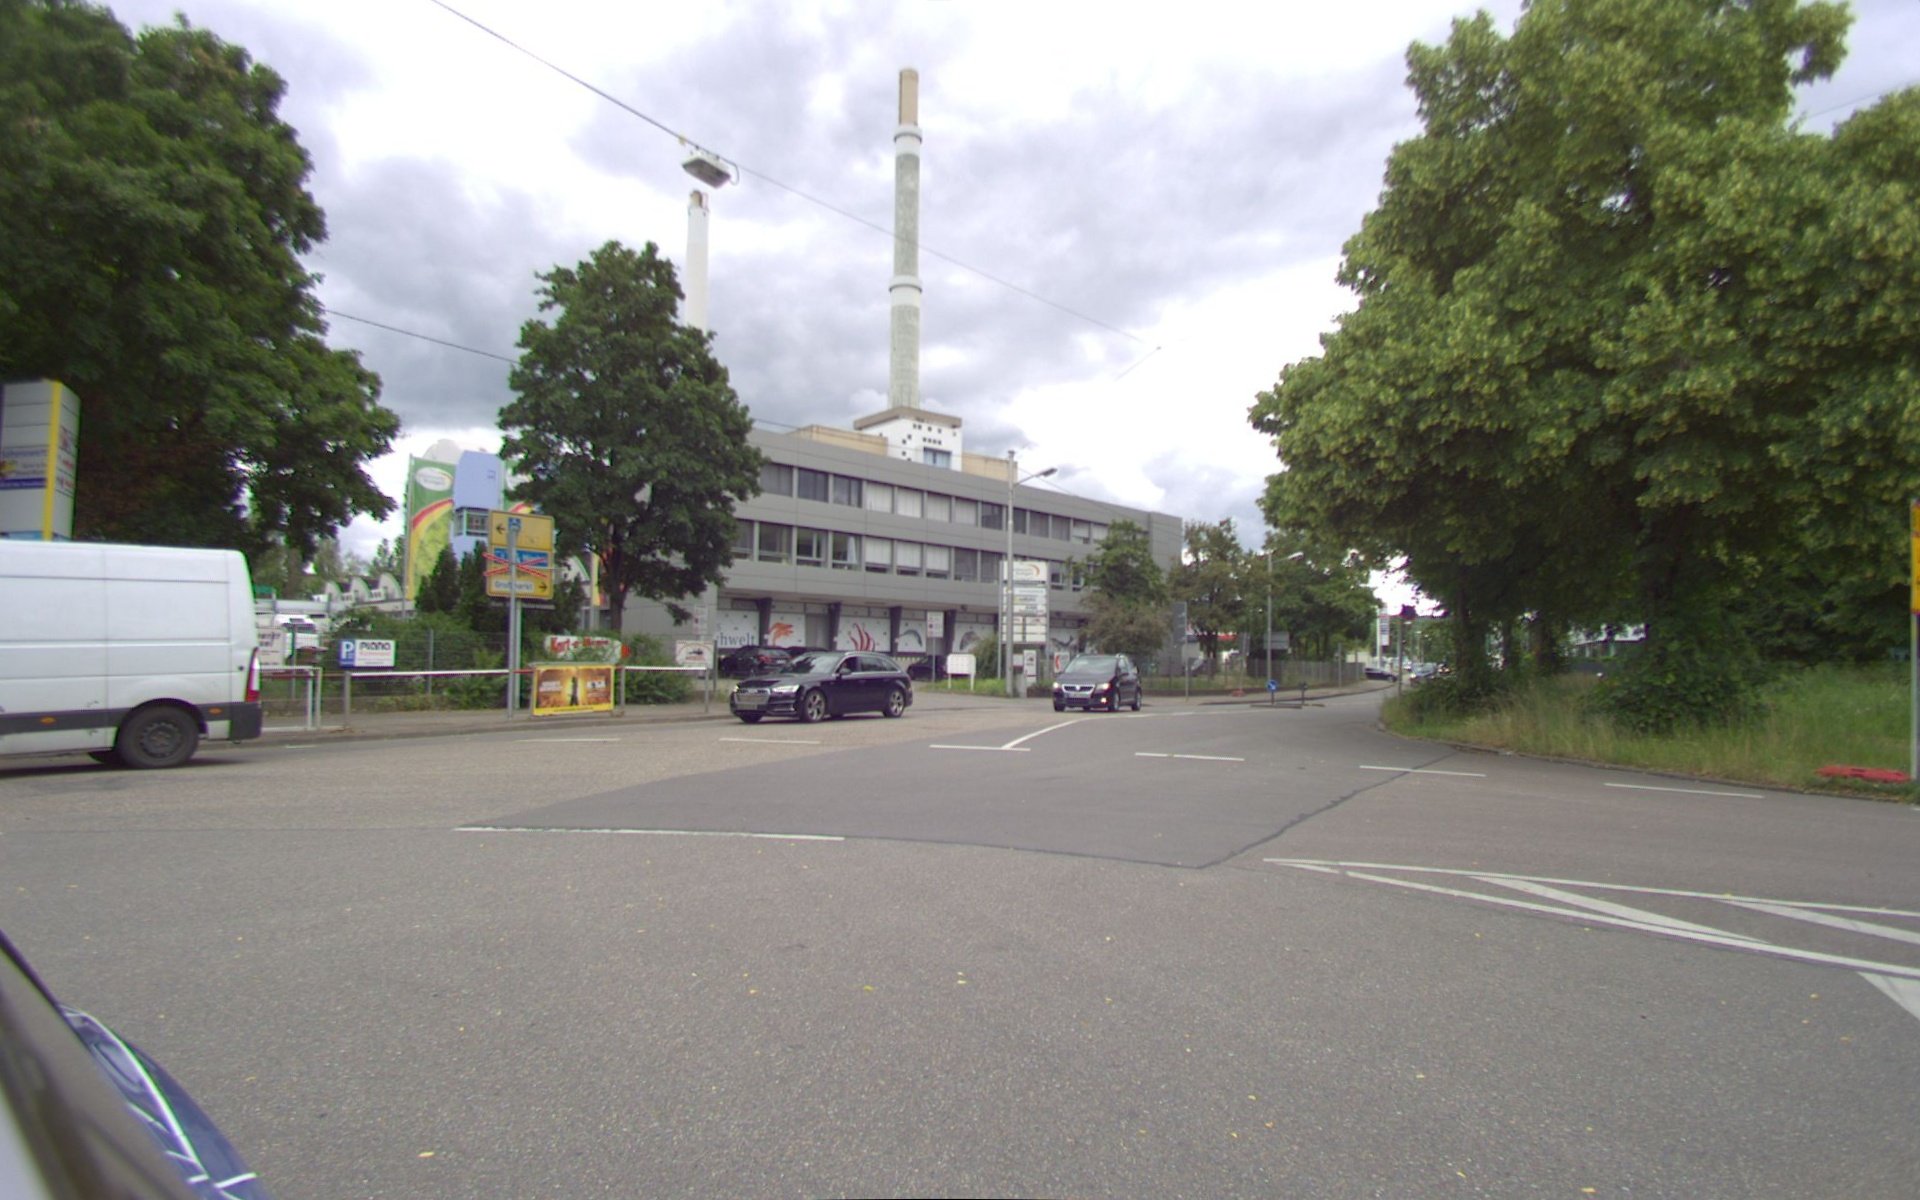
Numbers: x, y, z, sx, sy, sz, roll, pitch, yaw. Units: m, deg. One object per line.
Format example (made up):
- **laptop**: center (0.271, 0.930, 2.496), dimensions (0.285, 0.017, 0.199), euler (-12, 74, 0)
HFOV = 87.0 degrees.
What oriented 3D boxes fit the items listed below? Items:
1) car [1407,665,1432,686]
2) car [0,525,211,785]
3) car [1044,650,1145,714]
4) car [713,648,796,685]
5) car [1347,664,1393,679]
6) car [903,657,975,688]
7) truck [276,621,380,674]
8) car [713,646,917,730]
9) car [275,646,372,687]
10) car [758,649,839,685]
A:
- **car**: center (38.761, 6.357, 85.376), dimensions (1.786, 1.653, 4.403), euler (-2, -4, 25)
- **car**: center (-10.956, 0.510, 9.352), dimensions (2.386, 2.478, 6.021), euler (-4, -5, 38)
- **car**: center (3.881, 2.277, 28.544), dimensions (1.784, 1.653, 4.407), euler (-1, -4, 22)
- **car**: center (-9.988, 3.189, 48.932), dimensions (1.811, 1.630, 4.469), euler (4, -4, -44)
- **car**: center (53.851, 9.403, 132.999), dimensions (5.435, 1.884, 2.009), euler (-2, -4, 26)
- **car**: center (-1.194, 3.940, 55.524), dimensions (2.015, 1.456, 4.844), euler (2, -2, -27)
- **truck**: center (-51.635, 3.956, 82.348), dimensions (15.724, 3.964, 2.812), euler (-3, -5, 42)
- **car**: center (-2.811, 1.748, 20.700), dimensions (1.858, 1.524, 4.396), euler (-2, -4, 29)
- **car**: center (-20.950, 2.175, 33.249), dimensions (3.700, 1.258, 1.686), euler (-3, -5, 41)
- **car**: center (-8.186, 3.362, 51.068), dimensions (1.812, 1.630, 4.426), euler (4, -4, -45)
